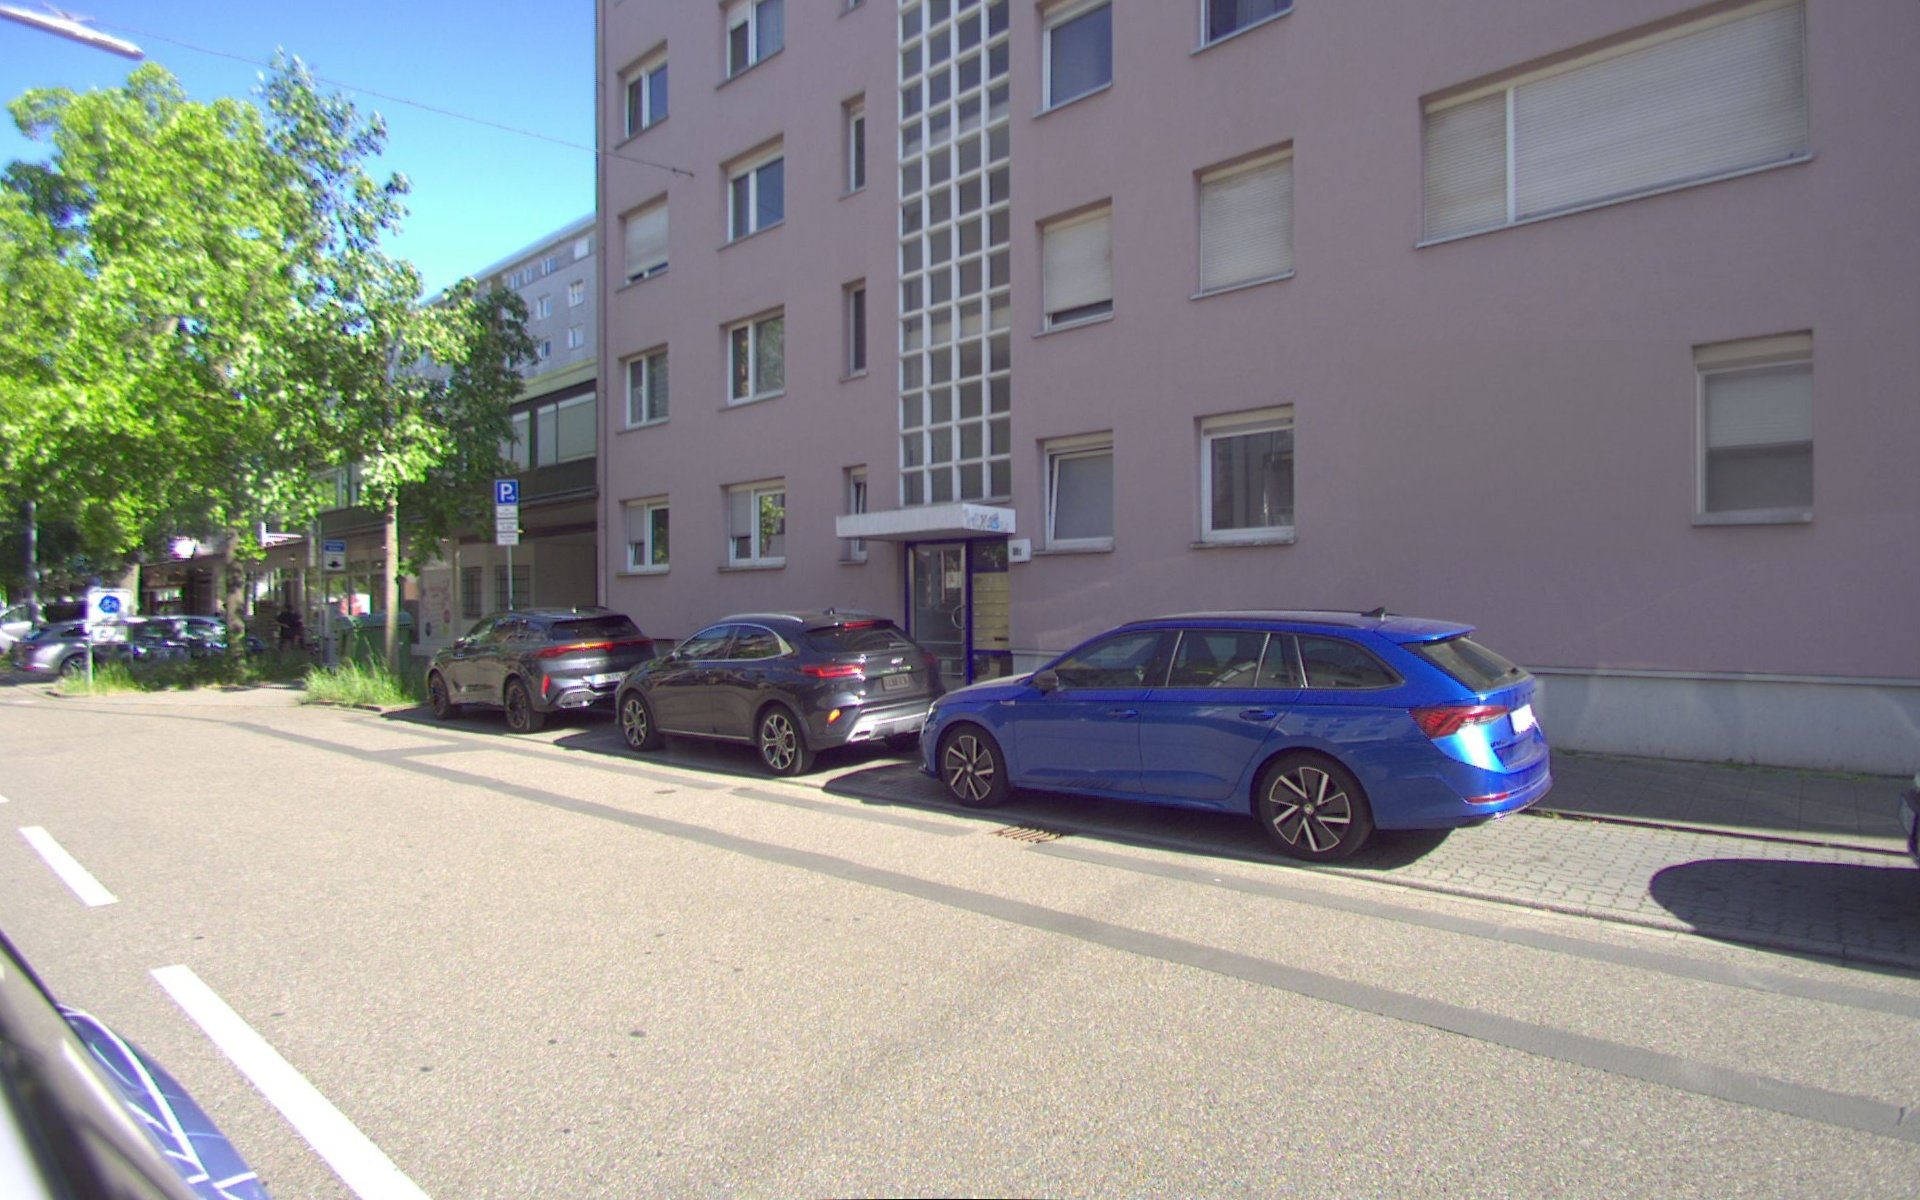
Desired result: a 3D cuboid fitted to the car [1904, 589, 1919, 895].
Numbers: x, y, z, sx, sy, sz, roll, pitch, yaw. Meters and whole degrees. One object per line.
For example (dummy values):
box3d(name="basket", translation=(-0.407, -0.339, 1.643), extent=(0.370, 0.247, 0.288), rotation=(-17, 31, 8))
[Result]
box3d(name="car", translation=(6.337, 0.672, 3.188), extent=(4.812, 1.476, 1.700), rotation=(-1, 1, 41))

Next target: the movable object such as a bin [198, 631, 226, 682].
box3d(name="movable object such as a bin", translation=(-18.480, 1.383, 25.019), extent=(0.409, 1.234, 0.482), rotation=(-1, -1, 41))

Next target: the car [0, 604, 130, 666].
box3d(name="car", translation=(-31.276, 1.170, 34.822), extent=(1.999, 2.047, 3.945), rotation=(-1, -1, 41))

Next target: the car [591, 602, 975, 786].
box3d(name="car", translation=(-2.032, 0.841, 10.788), extent=(4.245, 1.519, 1.798), rotation=(-1, 1, 43))

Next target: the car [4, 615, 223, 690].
box3d(name="car", translation=(-20.964, 1.228, 25.164), extent=(1.999, 1.687, 3.945), rotation=(-1, -1, 41))

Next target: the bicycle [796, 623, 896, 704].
box3d(name="bicycle", translation=(-1.680, 0.895, 14.708), extent=(1.649, 1.084, 0.386), rotation=(-1, 3, 42))

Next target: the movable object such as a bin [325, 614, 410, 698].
box3d(name="movable object such as a bin", translation=(-11.568, 1.065, 19.769), extent=(1.230, 1.557, 1.019), rotation=(0, -1, -44))

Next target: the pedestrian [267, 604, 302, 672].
box3d(name="pedestrian", translation=(-20.395, 1.144, 30.561), extent=(0.566, 2.029, 0.743), rotation=(-1, -1, 41))

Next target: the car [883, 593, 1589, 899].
box3d(name="car", translation=(1.689, 0.778, 7.298), extent=(4.610, 1.476, 1.700), rotation=(-1, 2, 41))

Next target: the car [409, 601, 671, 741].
box3d(name="car", translation=(-6.045, 0.894, 14.327), extent=(4.141, 1.604, 1.798), rotation=(-1, 2, 43))
